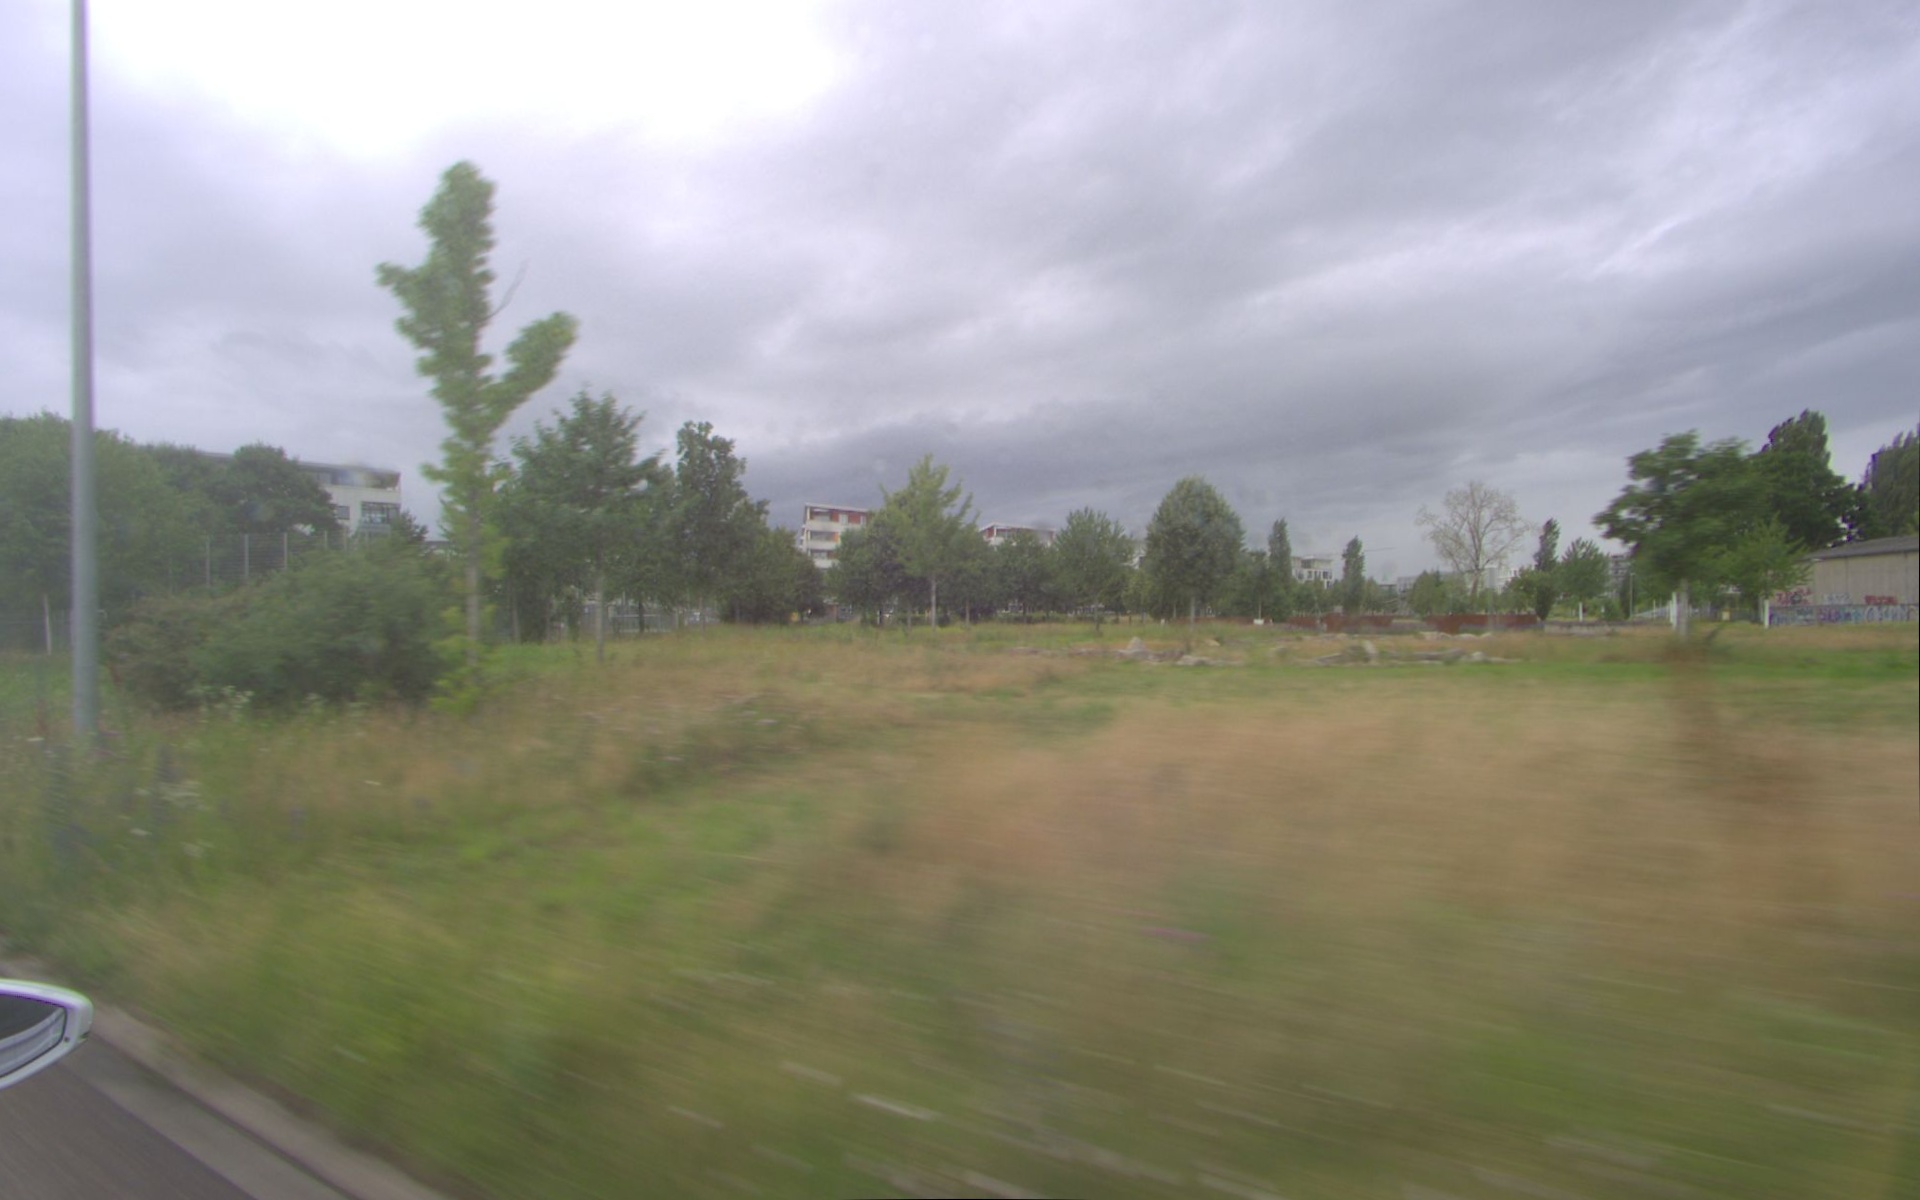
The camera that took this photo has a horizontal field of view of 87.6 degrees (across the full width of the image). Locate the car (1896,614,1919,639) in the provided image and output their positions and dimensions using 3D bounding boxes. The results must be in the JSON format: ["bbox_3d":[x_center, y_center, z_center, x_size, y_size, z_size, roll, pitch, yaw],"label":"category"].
[{"bbox_3d":[63.499,1.781,64.978,1.962,1.594,4.377,3,0,11],"label":"car"}]
